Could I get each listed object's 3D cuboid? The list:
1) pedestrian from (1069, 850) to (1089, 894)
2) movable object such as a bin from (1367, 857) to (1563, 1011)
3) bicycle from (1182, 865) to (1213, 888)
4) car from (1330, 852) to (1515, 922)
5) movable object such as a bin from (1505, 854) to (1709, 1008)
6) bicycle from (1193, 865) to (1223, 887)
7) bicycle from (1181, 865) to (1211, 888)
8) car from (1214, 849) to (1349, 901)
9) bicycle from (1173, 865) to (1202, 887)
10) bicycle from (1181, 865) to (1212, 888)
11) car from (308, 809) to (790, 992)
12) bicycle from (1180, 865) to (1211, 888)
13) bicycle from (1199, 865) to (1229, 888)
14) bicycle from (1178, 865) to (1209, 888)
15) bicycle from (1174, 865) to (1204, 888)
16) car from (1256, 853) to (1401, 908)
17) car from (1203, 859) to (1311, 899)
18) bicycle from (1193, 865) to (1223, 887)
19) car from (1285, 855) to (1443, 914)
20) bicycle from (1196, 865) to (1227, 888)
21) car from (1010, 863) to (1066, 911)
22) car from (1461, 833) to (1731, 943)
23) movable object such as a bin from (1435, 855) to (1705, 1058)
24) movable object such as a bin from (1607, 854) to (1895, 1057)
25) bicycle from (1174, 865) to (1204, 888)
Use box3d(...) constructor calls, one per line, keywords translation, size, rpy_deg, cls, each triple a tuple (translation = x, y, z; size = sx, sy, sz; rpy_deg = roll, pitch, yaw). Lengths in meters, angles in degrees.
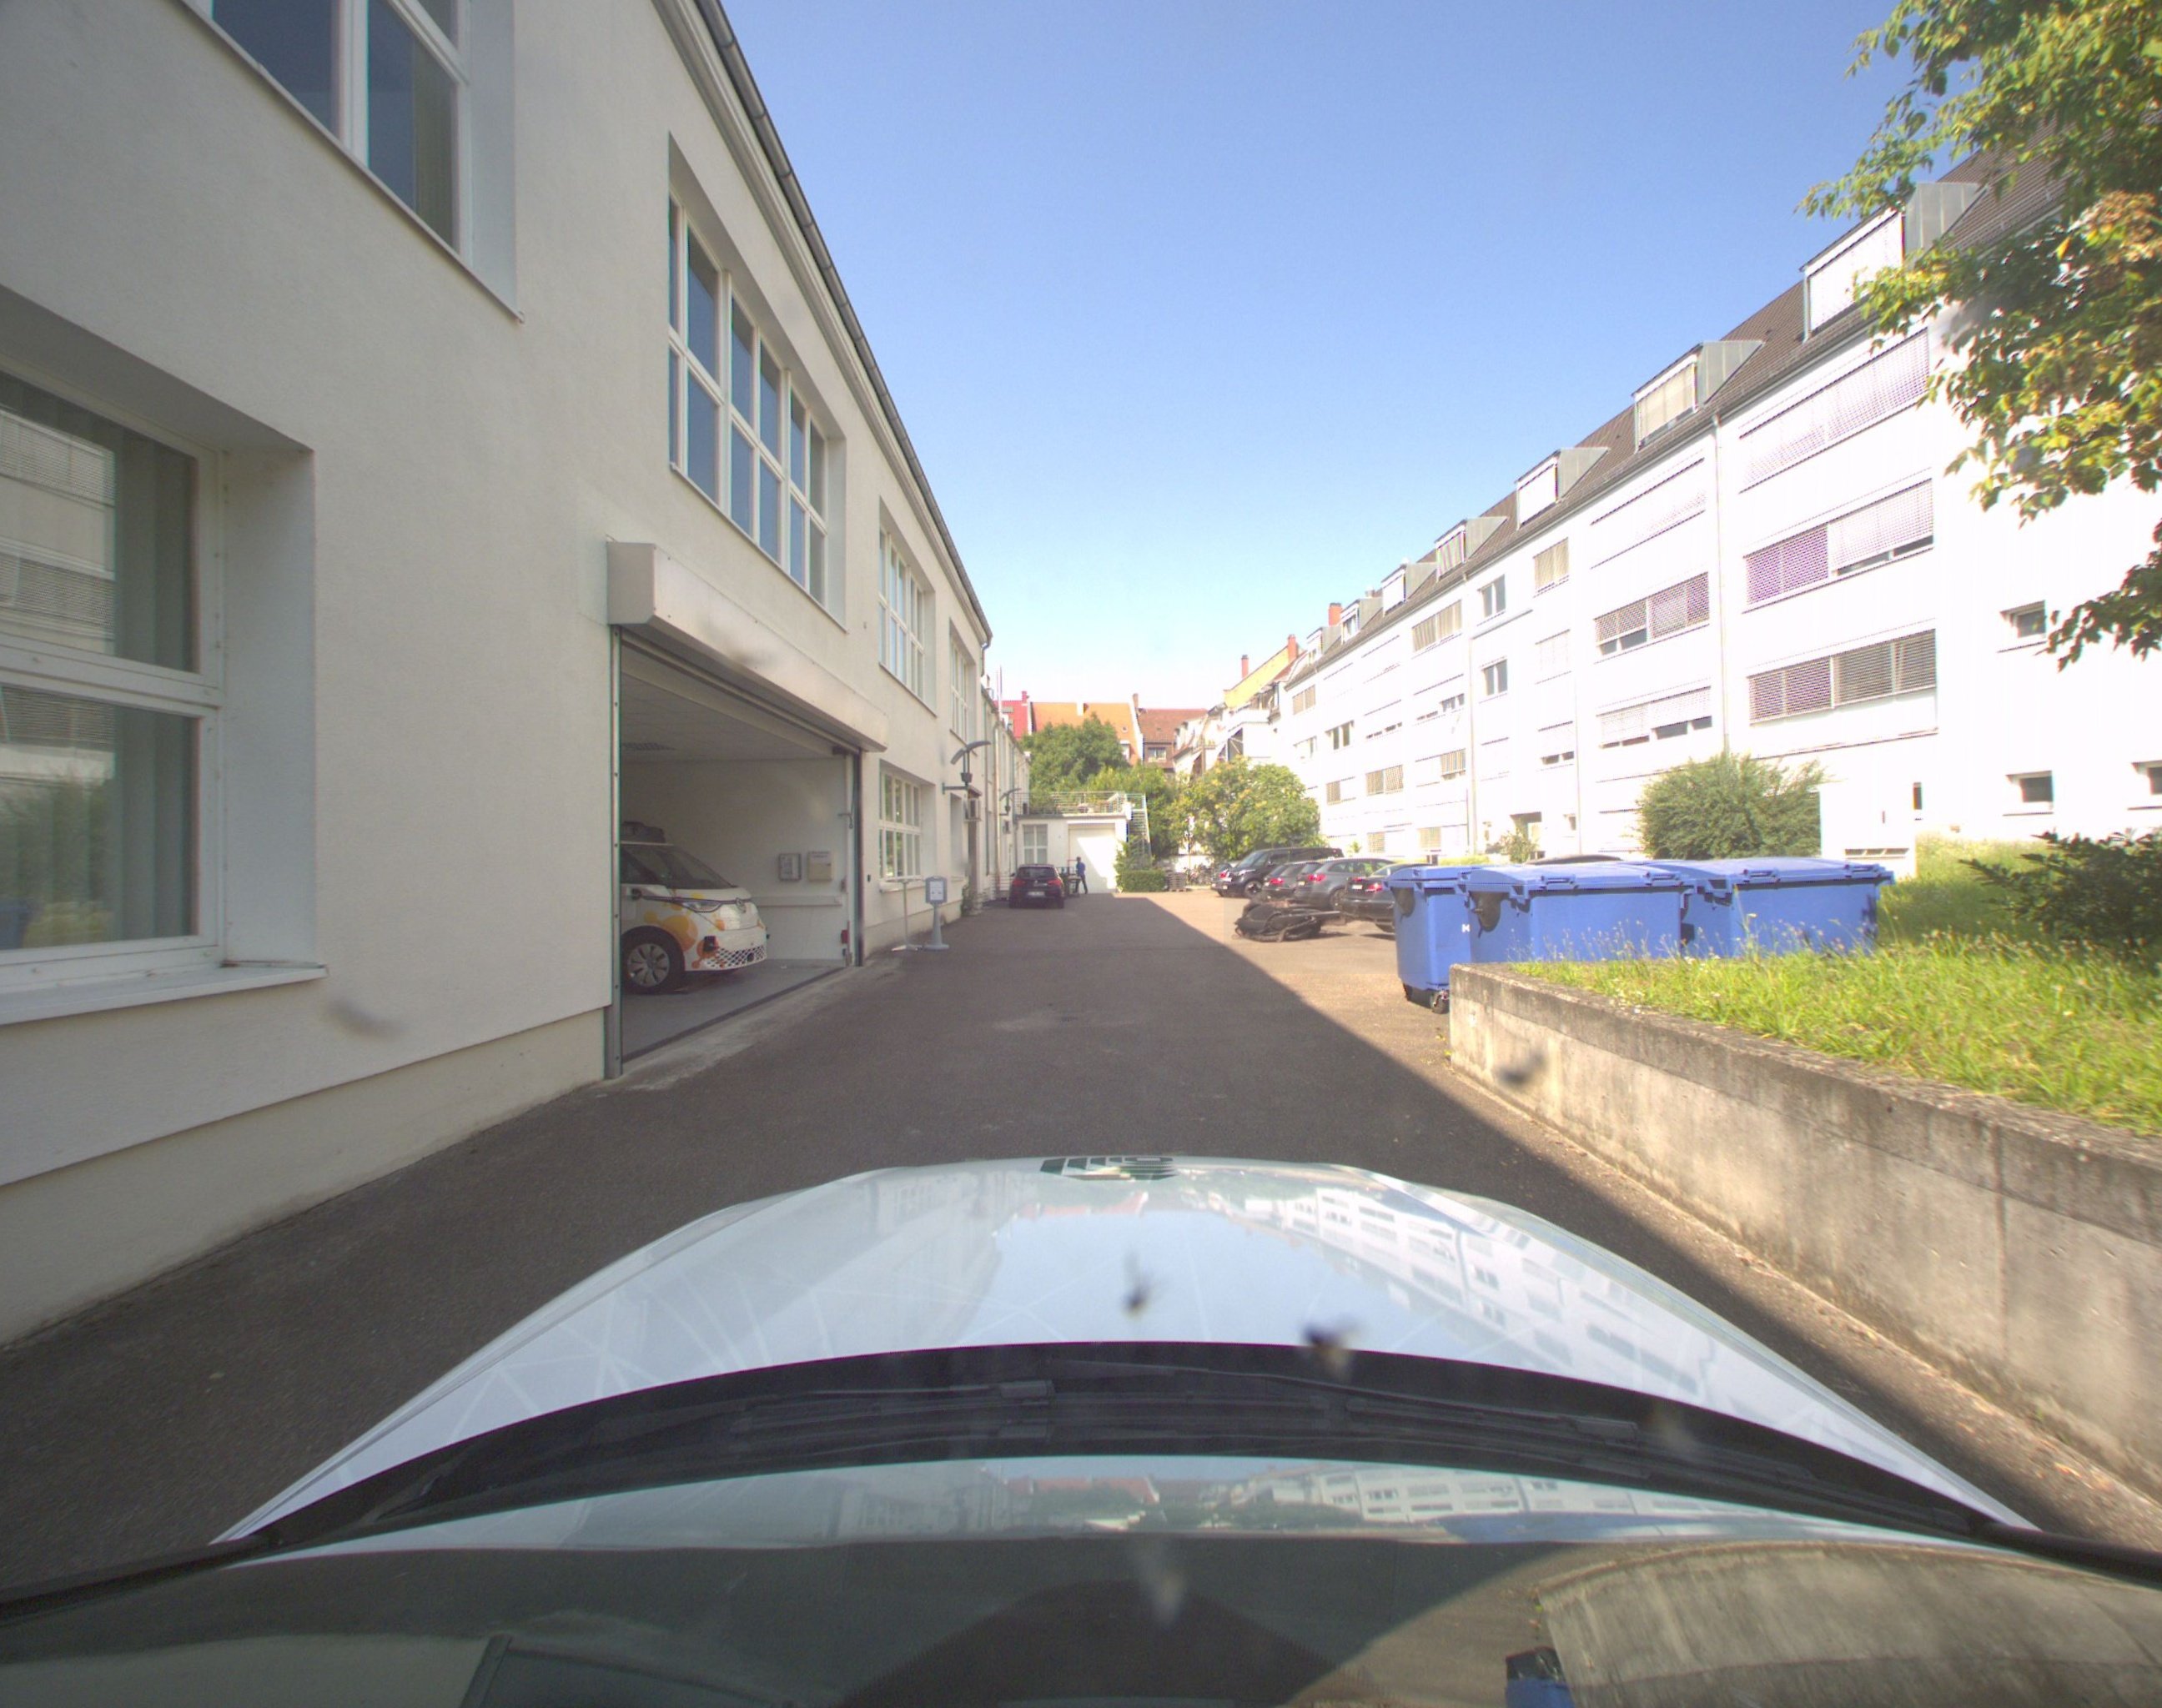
box3d(translation=(-0.072, 0.832, 38.009), size=(0.910, 2.014, 0.935), rpy_deg=(0, -2, 1), cls="pedestrian")
box3d(translation=(3.591, 0.720, 7.770), size=(1.296, 1.340, 1.194), rpy_deg=(0, -2, 0), cls="movable object such as a bin")
box3d(translation=(6.310, 1.226, 44.240), size=(1.617, 1.214, 0.327), rpy_deg=(-2, -1, 2), cls="bicycle")
box3d(translation=(8.351, 0.784, 20.113), size=(3.798, 1.589, 1.891), rpy_deg=(0, -2, -9), cls="car")
box3d(translation=(4.912, 0.691, 7.725), size=(1.229, 1.340, 1.118), rpy_deg=(-1, -2, 4), cls="movable object such as a bin")
box3d(translation=(7.230, 1.268, 46.318), size=(1.612, 1.214, 0.425), rpy_deg=(-2, -1, 13), cls="bicycle")
box3d(translation=(6.286, 1.233, 44.534), size=(1.617, 1.214, 0.327), rpy_deg=(-2, -1, 2), cls="bicycle")
box3d(translation=(7.419, 0.777, 30.346), size=(4.499, 1.794, 1.877), rpy_deg=(-1, -2, -9), cls="car")
box3d(translation=(6.178, 1.299, 47.262), size=(1.620, 1.214, 0.423), rpy_deg=(-2, -1, -5), cls="bicycle")
box3d(translation=(6.239, 1.219, 43.919), size=(1.617, 1.214, 0.327), rpy_deg=(-2, -1, 2), cls="bicycle")
box3d(translation=(-6.465, 0.553, 10.374), size=(4.730, 2.093, 2.055), rpy_deg=(0, -2, 0), cls="car")
box3d(translation=(6.328, 1.243, 44.985), size=(1.613, 1.214, 0.328), rpy_deg=(-2, -1, 10), cls="bicycle")
box3d(translation=(7.328, 1.232, 44.881), size=(1.611, 1.214, 0.328), rpy_deg=(-2, -1, 15), cls="bicycle")
box3d(translation=(6.256, 1.252, 45.349), size=(1.611, 1.214, 0.328), rpy_deg=(-2, -1, 13), cls="bicycle")
box3d(translation=(6.080, 1.271, 46.026), size=(1.618, 1.214, 0.424), rpy_deg=(-2, -1, -1), cls="bicycle")
box3d(translation=(7.872, 0.841, 26.138), size=(4.106, 1.692, 1.769), rpy_deg=(0, -2, -3), cls="car")
box3d(translation=(7.135, 1.008, 33.227), size=(3.931, 1.482, 1.769), rpy_deg=(-1, -2, -9), cls="car")
box3d(translation=(7.389, 1.291, 47.343), size=(1.612, 1.214, 0.425), rpy_deg=(-2, -1, 13), cls="bicycle")
box3d(translation=(8.021, 0.852, 23.317), size=(3.855, 1.589, 1.876), rpy_deg=(0, -1, -5), cls="car")
box3d(translation=(7.323, 1.253, 45.740), size=(1.611, 1.214, 0.425), rpy_deg=(-2, -1, 13), cls="bicycle")
box3d(translation=(-1.367, 1.065, 27.227), size=(1.683, 1.459, 3.921), rpy_deg=(0, -1, -1), cls="car")
box3d(translation=(9.065, 0.590, 14.555), size=(3.609, 1.545, 1.801), rpy_deg=(-5, -1, -2), cls="car")
box3d(translation=(3.526, 0.697, 6.018), size=(1.306, 1.340, 1.099), rpy_deg=(0, -2, -3), cls="movable object such as a bin")
box3d(translation=(4.853, 0.685, 6.007), size=(1.224, 1.340, 1.075), rpy_deg=(0, -2, -4), cls="movable object such as a bin")
box3d(translation=(6.174, 1.285, 46.660), size=(1.620, 1.214, 0.423), rpy_deg=(-2, -1, -5), cls="bicycle")
